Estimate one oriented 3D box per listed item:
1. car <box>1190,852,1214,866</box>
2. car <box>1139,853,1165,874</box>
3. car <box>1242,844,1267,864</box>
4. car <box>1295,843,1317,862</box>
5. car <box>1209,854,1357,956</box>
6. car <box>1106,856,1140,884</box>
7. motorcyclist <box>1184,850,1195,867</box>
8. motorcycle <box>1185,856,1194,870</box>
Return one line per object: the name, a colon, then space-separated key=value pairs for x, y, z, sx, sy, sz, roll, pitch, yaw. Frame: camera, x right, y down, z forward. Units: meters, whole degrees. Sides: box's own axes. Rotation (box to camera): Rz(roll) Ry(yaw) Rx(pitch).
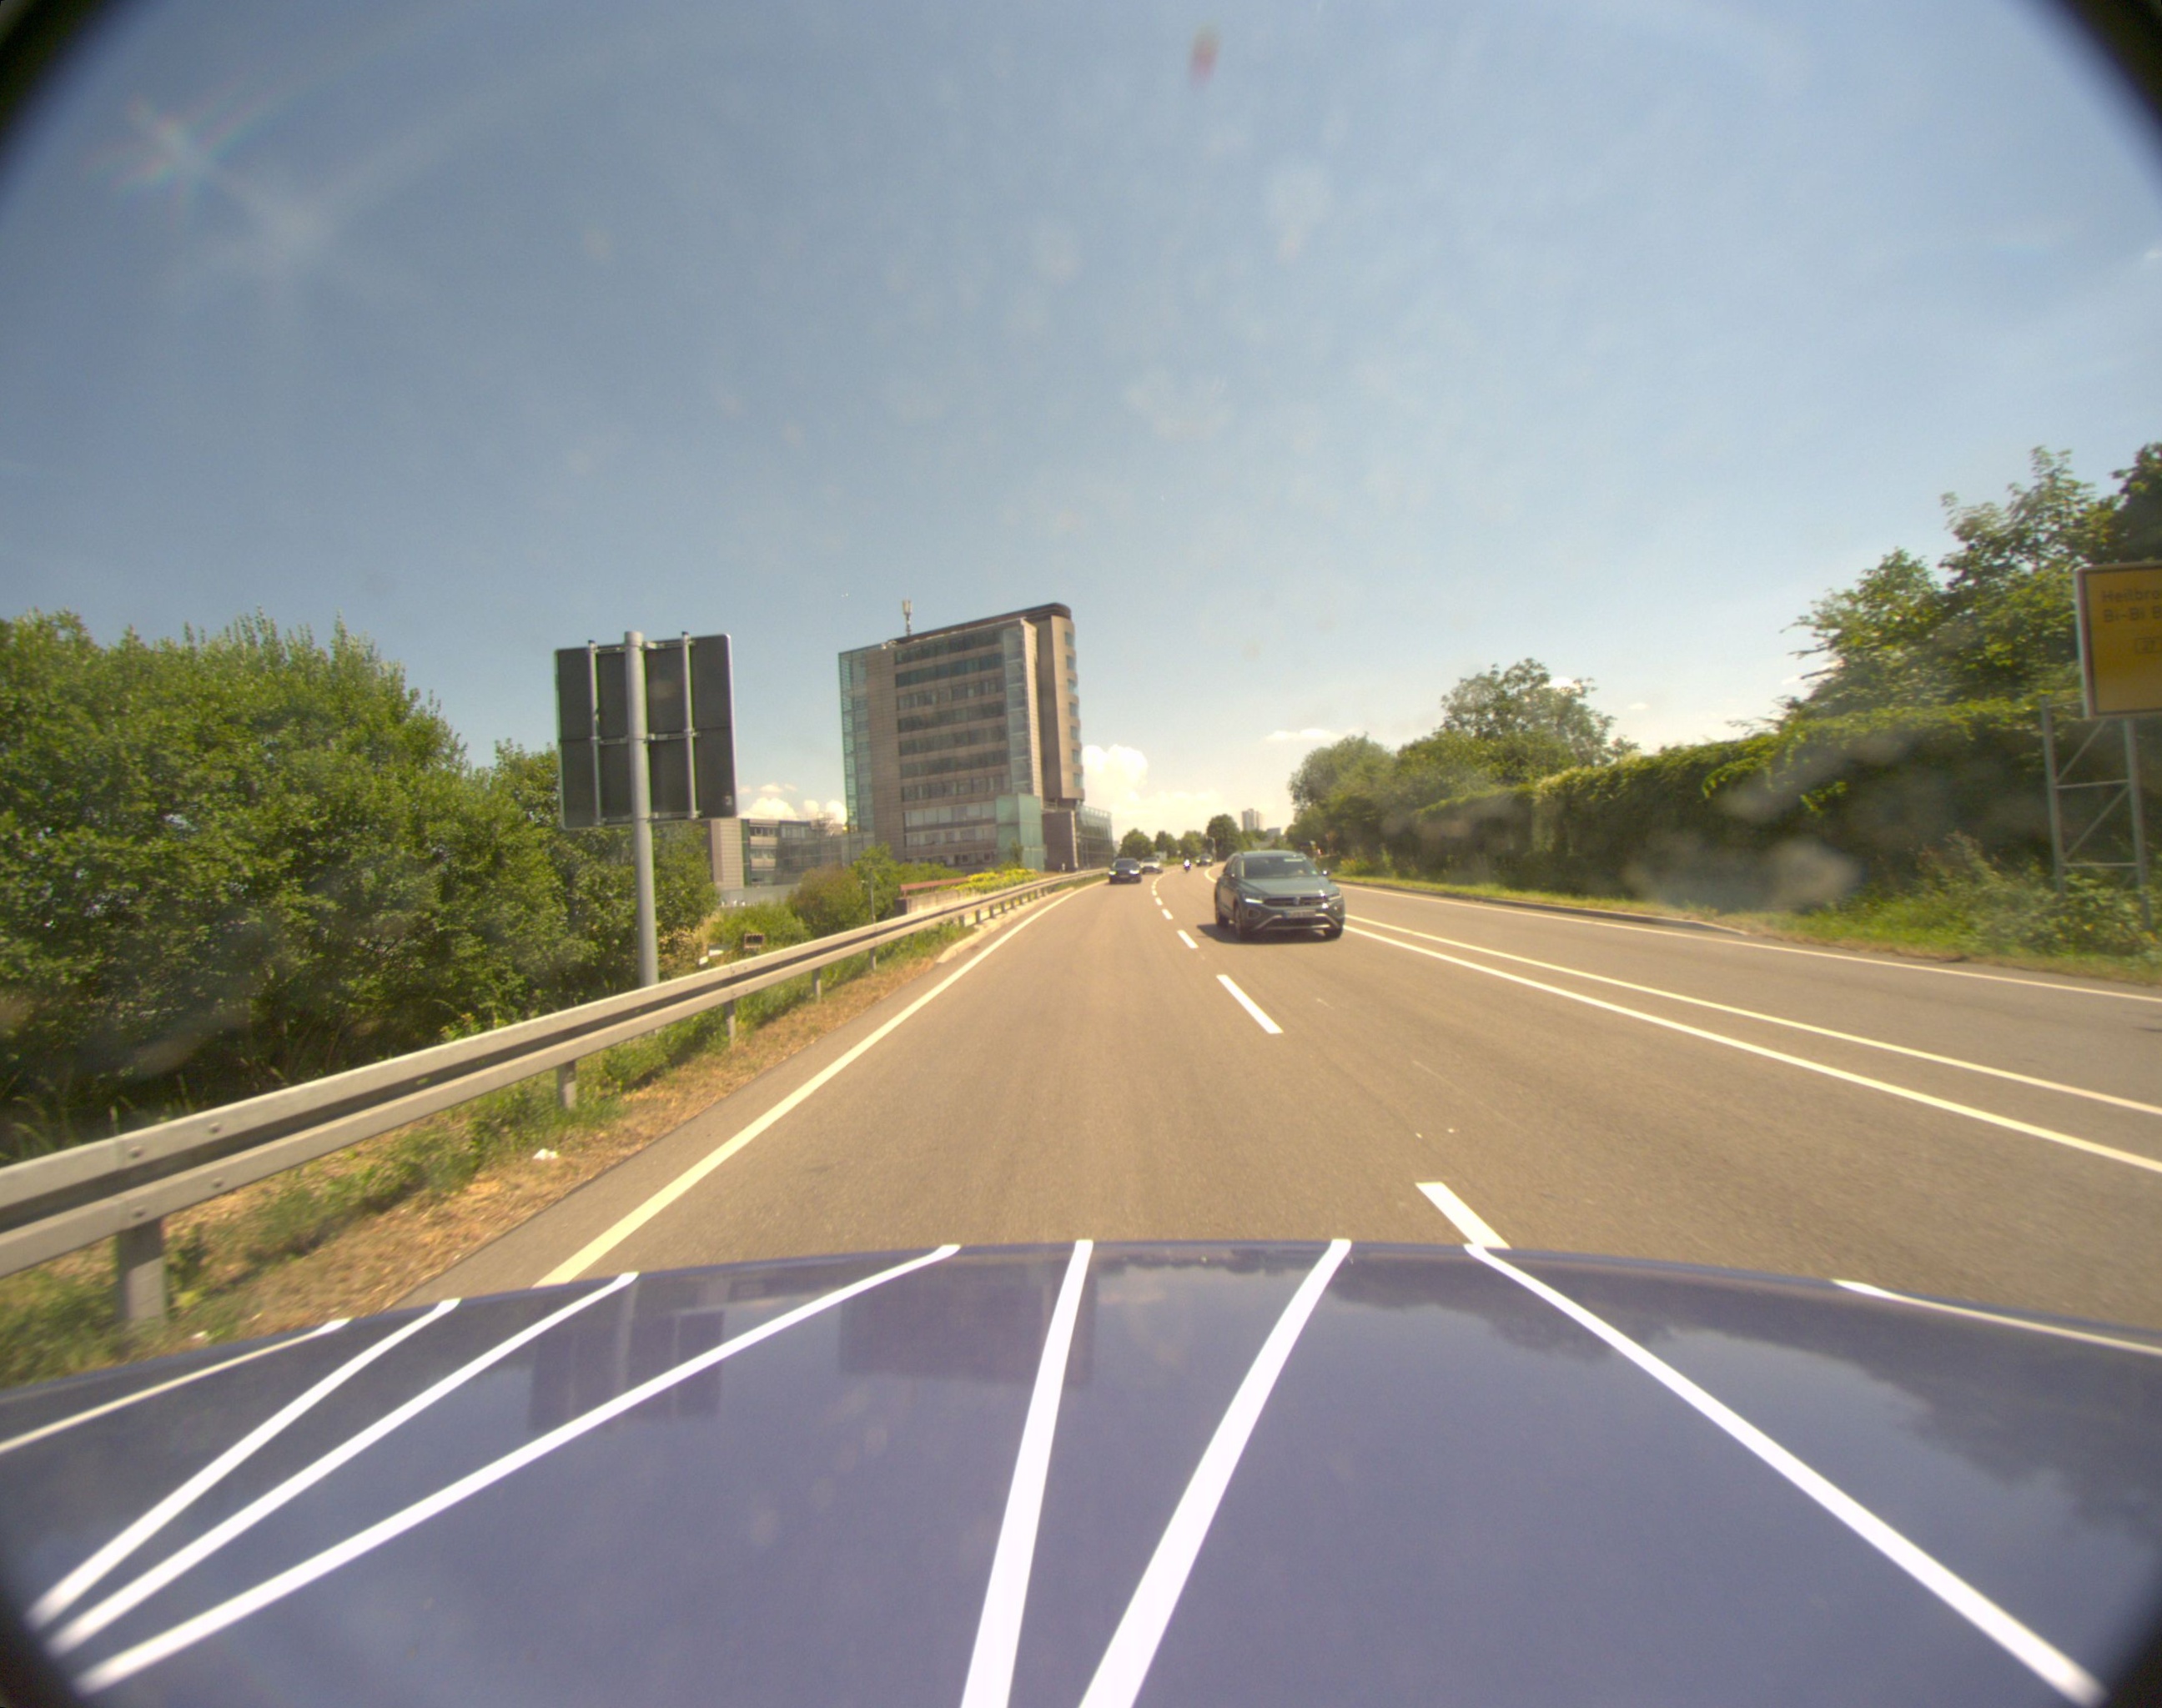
car: x=14.958 y=0.563 z=93.751 sx=2.115 sy=1.582 sz=4.456 roll=-3 pitch=0 yaw=17
car: x=6.263 y=0.855 z=67.056 sx=1.933 sy=1.576 sz=4.183 roll=-5 pitch=-2 yaw=8
car: x=15.384 y=-0.014 z=67.543 sx=1.997 sy=1.619 sz=4.200 roll=-2 pitch=0 yaw=11
car: x=32.048 y=-0.232 z=108.186 sx=2.190 sy=2.526 sz=6.046 roll=-3 pitch=0 yaw=23
car: x=3.640 y=0.831 z=14.527 sx=1.839 sy=1.577 sz=4.392 roll=-3 pitch=0 yaw=3
car: x=2.555 y=0.936 z=45.149 sx=1.779 sy=1.497 sz=4.563 roll=-2 pitch=-1 yaw=6
motorcyclist: x=9.432 y=0.414 z=66.161 sx=0.860 sy=1.479 sz=1.162 roll=-1 pitch=0 yaw=9
motorcycle: x=9.423 y=0.790 z=66.150 sx=0.733 sy=1.131 sz=2.074 roll=-1 pitch=0 yaw=8
